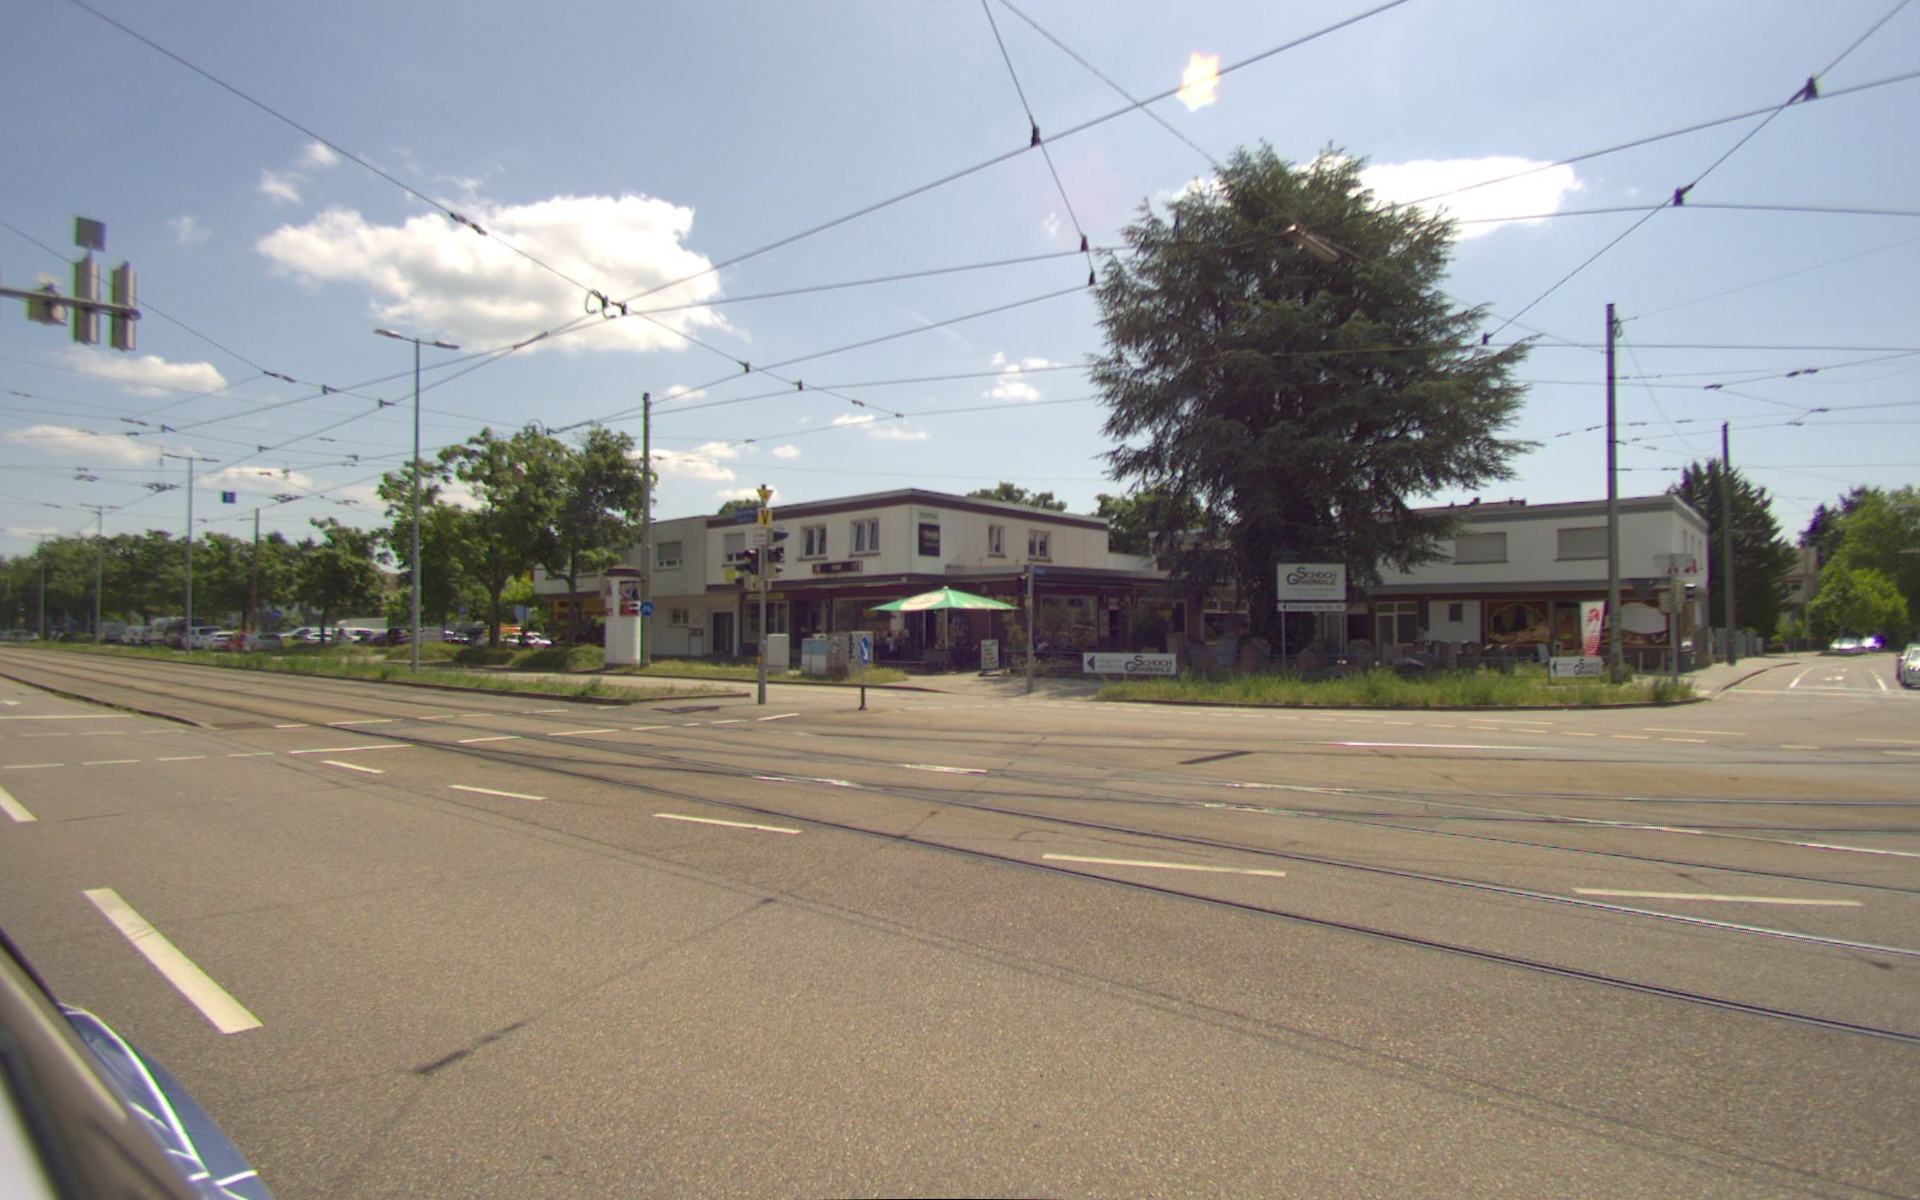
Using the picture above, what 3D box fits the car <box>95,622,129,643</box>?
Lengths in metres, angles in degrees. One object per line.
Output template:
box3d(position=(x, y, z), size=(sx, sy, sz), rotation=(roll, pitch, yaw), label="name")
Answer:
box3d(position=(-90.631, 3.484, 108.127), size=(4.486, 2.117, 2.045), rotation=(-1, 0, 40), label="car")

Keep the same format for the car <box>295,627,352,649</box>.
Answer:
box3d(position=(-56.629, 3.379, 90.077), size=(1.803, 1.749, 3.944), rotation=(-1, -4, 42), label="car")

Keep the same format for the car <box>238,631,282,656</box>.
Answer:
box3d(position=(-47.798, 2.930, 69.035), size=(4.551, 1.551, 1.559), rotation=(-1, 0, 43), label="car")

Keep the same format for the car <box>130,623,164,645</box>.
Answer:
box3d(position=(-76.881, 3.201, 95.674), size=(4.648, 1.953, 1.771), rotation=(-1, 0, 42), label="car")

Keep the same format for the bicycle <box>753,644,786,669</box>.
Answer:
box3d(position=(-8.176, 2.421, 43.341), size=(1.801, 1.049, 0.393), rotation=(-2, -3, 44), label="bicycle")

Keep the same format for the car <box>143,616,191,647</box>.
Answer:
box3d(position=(-70.424, 2.744, 89.842), size=(6.701, 2.631, 2.128), rotation=(-1, 0, 41), label="car")

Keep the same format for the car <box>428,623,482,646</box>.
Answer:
box3d(position=(-52.572, 3.601, 105.486), size=(1.850, 2.242, 4.593), rotation=(-1, -4, 39), label="car")

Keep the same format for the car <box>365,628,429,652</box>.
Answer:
box3d(position=(-44.222, 3.139, 79.538), size=(1.803, 1.749, 3.944), rotation=(-1, -4, 42), label="car")

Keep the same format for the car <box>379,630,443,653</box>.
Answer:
box3d(position=(-42.464, 3.196, 78.356), size=(1.879, 1.749, 3.944), rotation=(-2, -3, 42), label="car")

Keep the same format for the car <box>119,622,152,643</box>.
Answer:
box3d(position=(-81.728, 3.188, 100.308), size=(4.486, 1.953, 1.772), rotation=(-1, 0, 40), label="car")

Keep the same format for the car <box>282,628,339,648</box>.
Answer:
box3d(position=(-62.048, 3.658, 96.703), size=(1.803, 1.749, 4.144), rotation=(-1, -4, 42), label="car")

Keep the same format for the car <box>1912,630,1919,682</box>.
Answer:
box3d(position=(33.777, 1.958, 34.495), size=(1.900, 1.738, 3.799), rotation=(-1, -4, 43), label="car")

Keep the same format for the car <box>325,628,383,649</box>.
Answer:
box3d(position=(-53.557, 3.407, 89.483), size=(1.803, 1.749, 3.944), rotation=(-1, -4, 42), label="car")

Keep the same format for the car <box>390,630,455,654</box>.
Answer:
box3d(position=(-40.430, 3.144, 76.129), size=(1.803, 1.749, 3.944), rotation=(-2, -3, 42), label="car")

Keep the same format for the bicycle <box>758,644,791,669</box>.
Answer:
box3d(position=(-8.022, 2.429, 43.734), size=(1.801, 1.049, 0.393), rotation=(-2, -3, 44), label="bicycle")

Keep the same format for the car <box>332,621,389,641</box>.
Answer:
box3d(position=(-74.350, 3.856, 125.576), size=(2.257, 2.500, 5.626), rotation=(-1, -3, 39), label="car")

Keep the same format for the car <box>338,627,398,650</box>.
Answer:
box3d(position=(-49.970, 3.281, 85.465), size=(1.803, 1.749, 3.944), rotation=(-1, -4, 42), label="car")

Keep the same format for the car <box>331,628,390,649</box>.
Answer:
box3d(position=(-51.750, 3.323, 87.372), size=(1.902, 1.749, 3.944), rotation=(-2, -3, 42), label="car")

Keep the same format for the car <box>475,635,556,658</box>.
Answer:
box3d(position=(-28.909, 2.984, 65.846), size=(1.907, 1.445, 4.423), rotation=(-2, -3, 44), label="car")

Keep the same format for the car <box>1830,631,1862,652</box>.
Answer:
box3d(position=(77.199, 3.628, 88.187), size=(2.000, 1.721, 3.944), rotation=(-1, -4, 42), label="car")

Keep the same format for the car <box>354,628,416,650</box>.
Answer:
box3d(position=(-46.221, 3.146, 81.414), size=(1.803, 1.749, 3.944), rotation=(-2, -3, 42), label="car")

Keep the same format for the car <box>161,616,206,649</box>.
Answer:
box3d(position=(-64.498, 2.679, 84.045), size=(5.032, 2.631, 2.127), rotation=(-1, 0, 42), label="car")

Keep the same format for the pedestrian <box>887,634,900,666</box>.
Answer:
box3d(position=(-2.732, 2.045, 41.560), size=(0.453, 1.278, 0.337), rotation=(-2, -4, 44), label="pedestrian")

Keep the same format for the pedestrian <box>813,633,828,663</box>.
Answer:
box3d(position=(-6.014, 2.084, 43.686), size=(0.533, 1.278, 0.349), rotation=(-2, -3, 43), label="pedestrian")

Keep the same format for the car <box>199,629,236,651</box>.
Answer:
box3d(position=(-55.286, 2.958, 75.328), size=(4.359, 1.551, 1.482), rotation=(-1, 0, 43), label="car")

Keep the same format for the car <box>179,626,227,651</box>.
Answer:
box3d(position=(-59.929, 3.017, 80.110), size=(4.887, 1.851, 2.127), rotation=(-1, 0, 42), label="car")

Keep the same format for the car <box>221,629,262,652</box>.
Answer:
box3d(position=(-51.607, 2.921, 72.686), size=(3.645, 1.551, 1.484), rotation=(-1, 0, 39), label="car")
